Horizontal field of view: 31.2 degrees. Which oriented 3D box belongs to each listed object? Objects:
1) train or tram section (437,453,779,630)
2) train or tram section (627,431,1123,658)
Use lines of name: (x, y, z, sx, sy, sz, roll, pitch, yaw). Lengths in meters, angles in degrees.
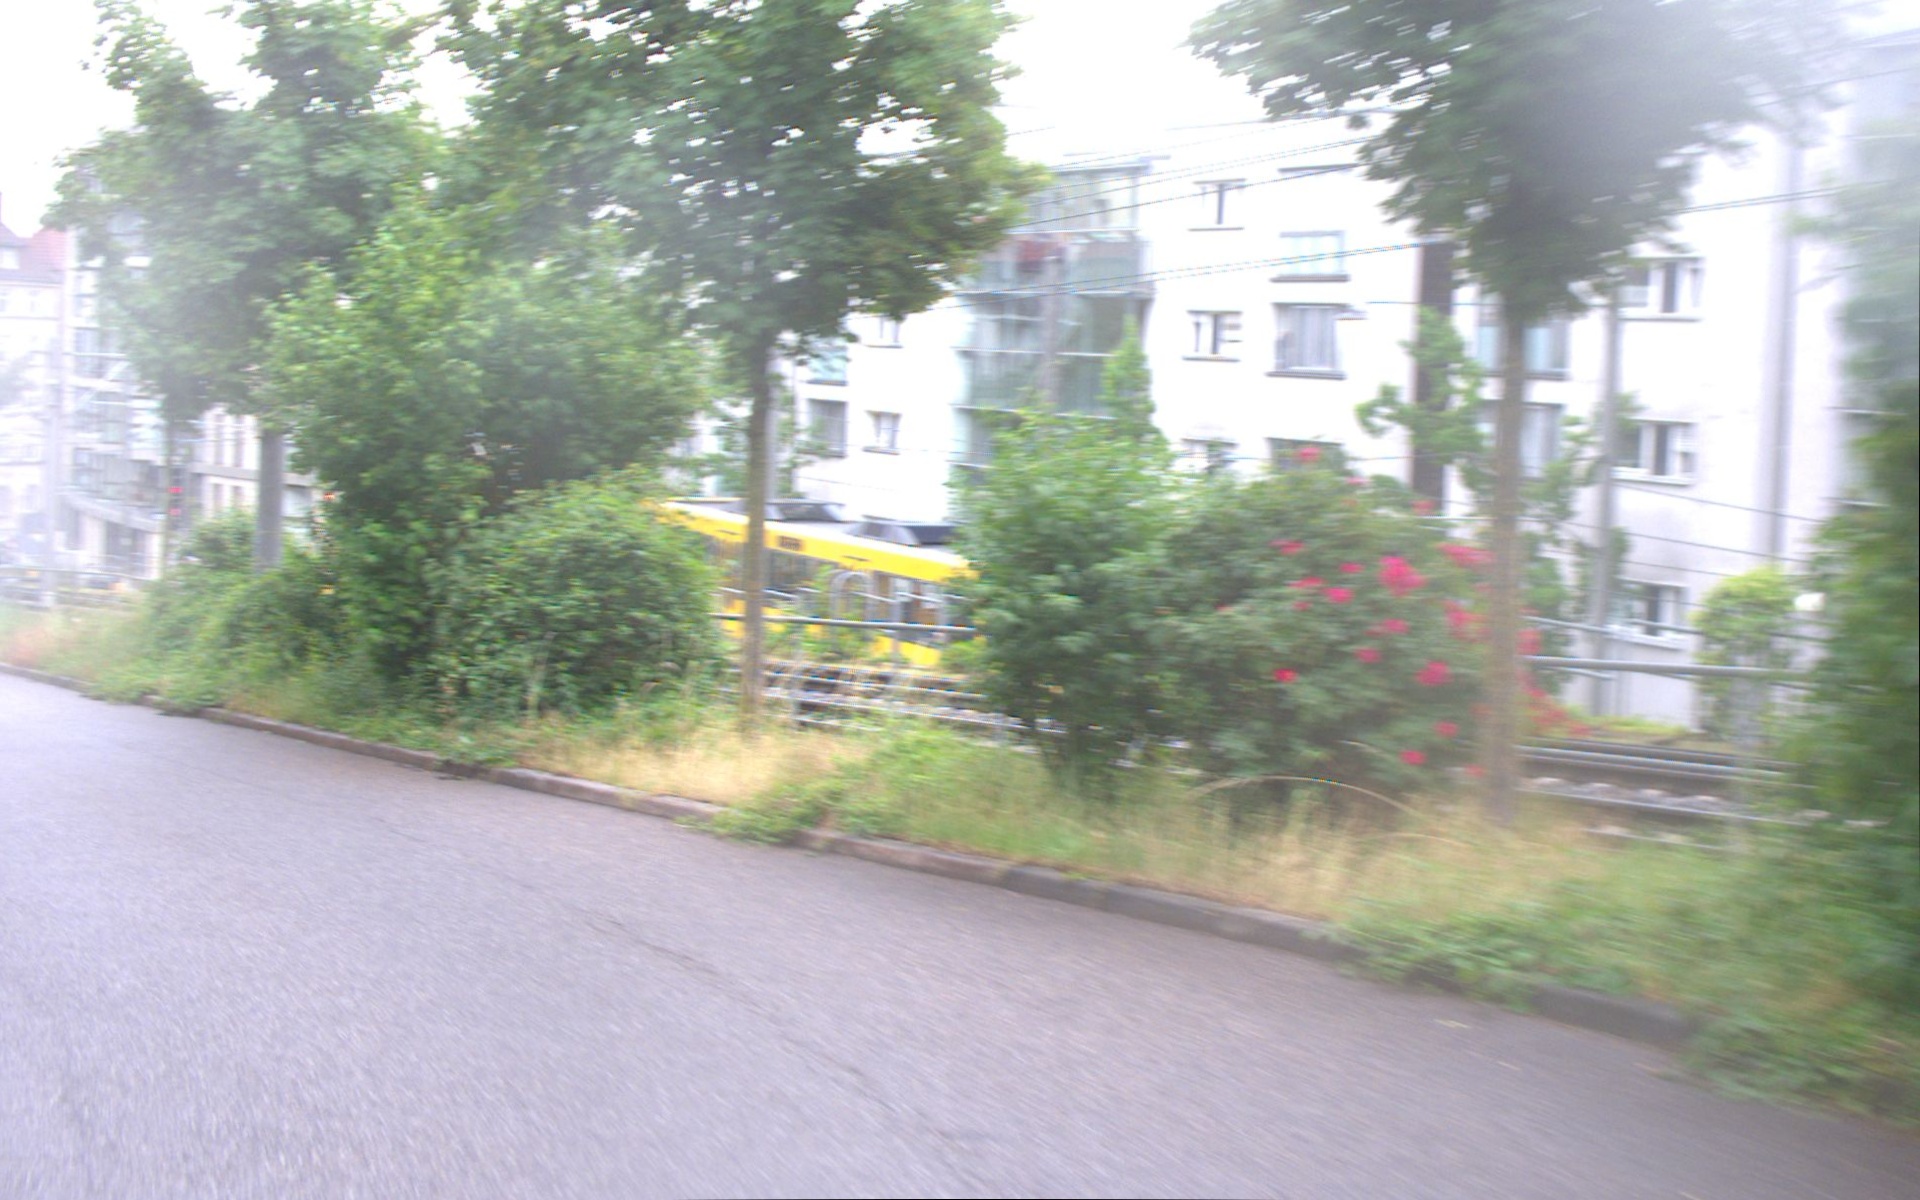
train or tram section: (-9.246, -1.489, 86.412, 3.330, 3.934, 18.818, 1, 1, -22)
train or tram section: (-2.317, -1.141, 69.412, 3.330, 3.934, 19.286, 1, 1, -22)
